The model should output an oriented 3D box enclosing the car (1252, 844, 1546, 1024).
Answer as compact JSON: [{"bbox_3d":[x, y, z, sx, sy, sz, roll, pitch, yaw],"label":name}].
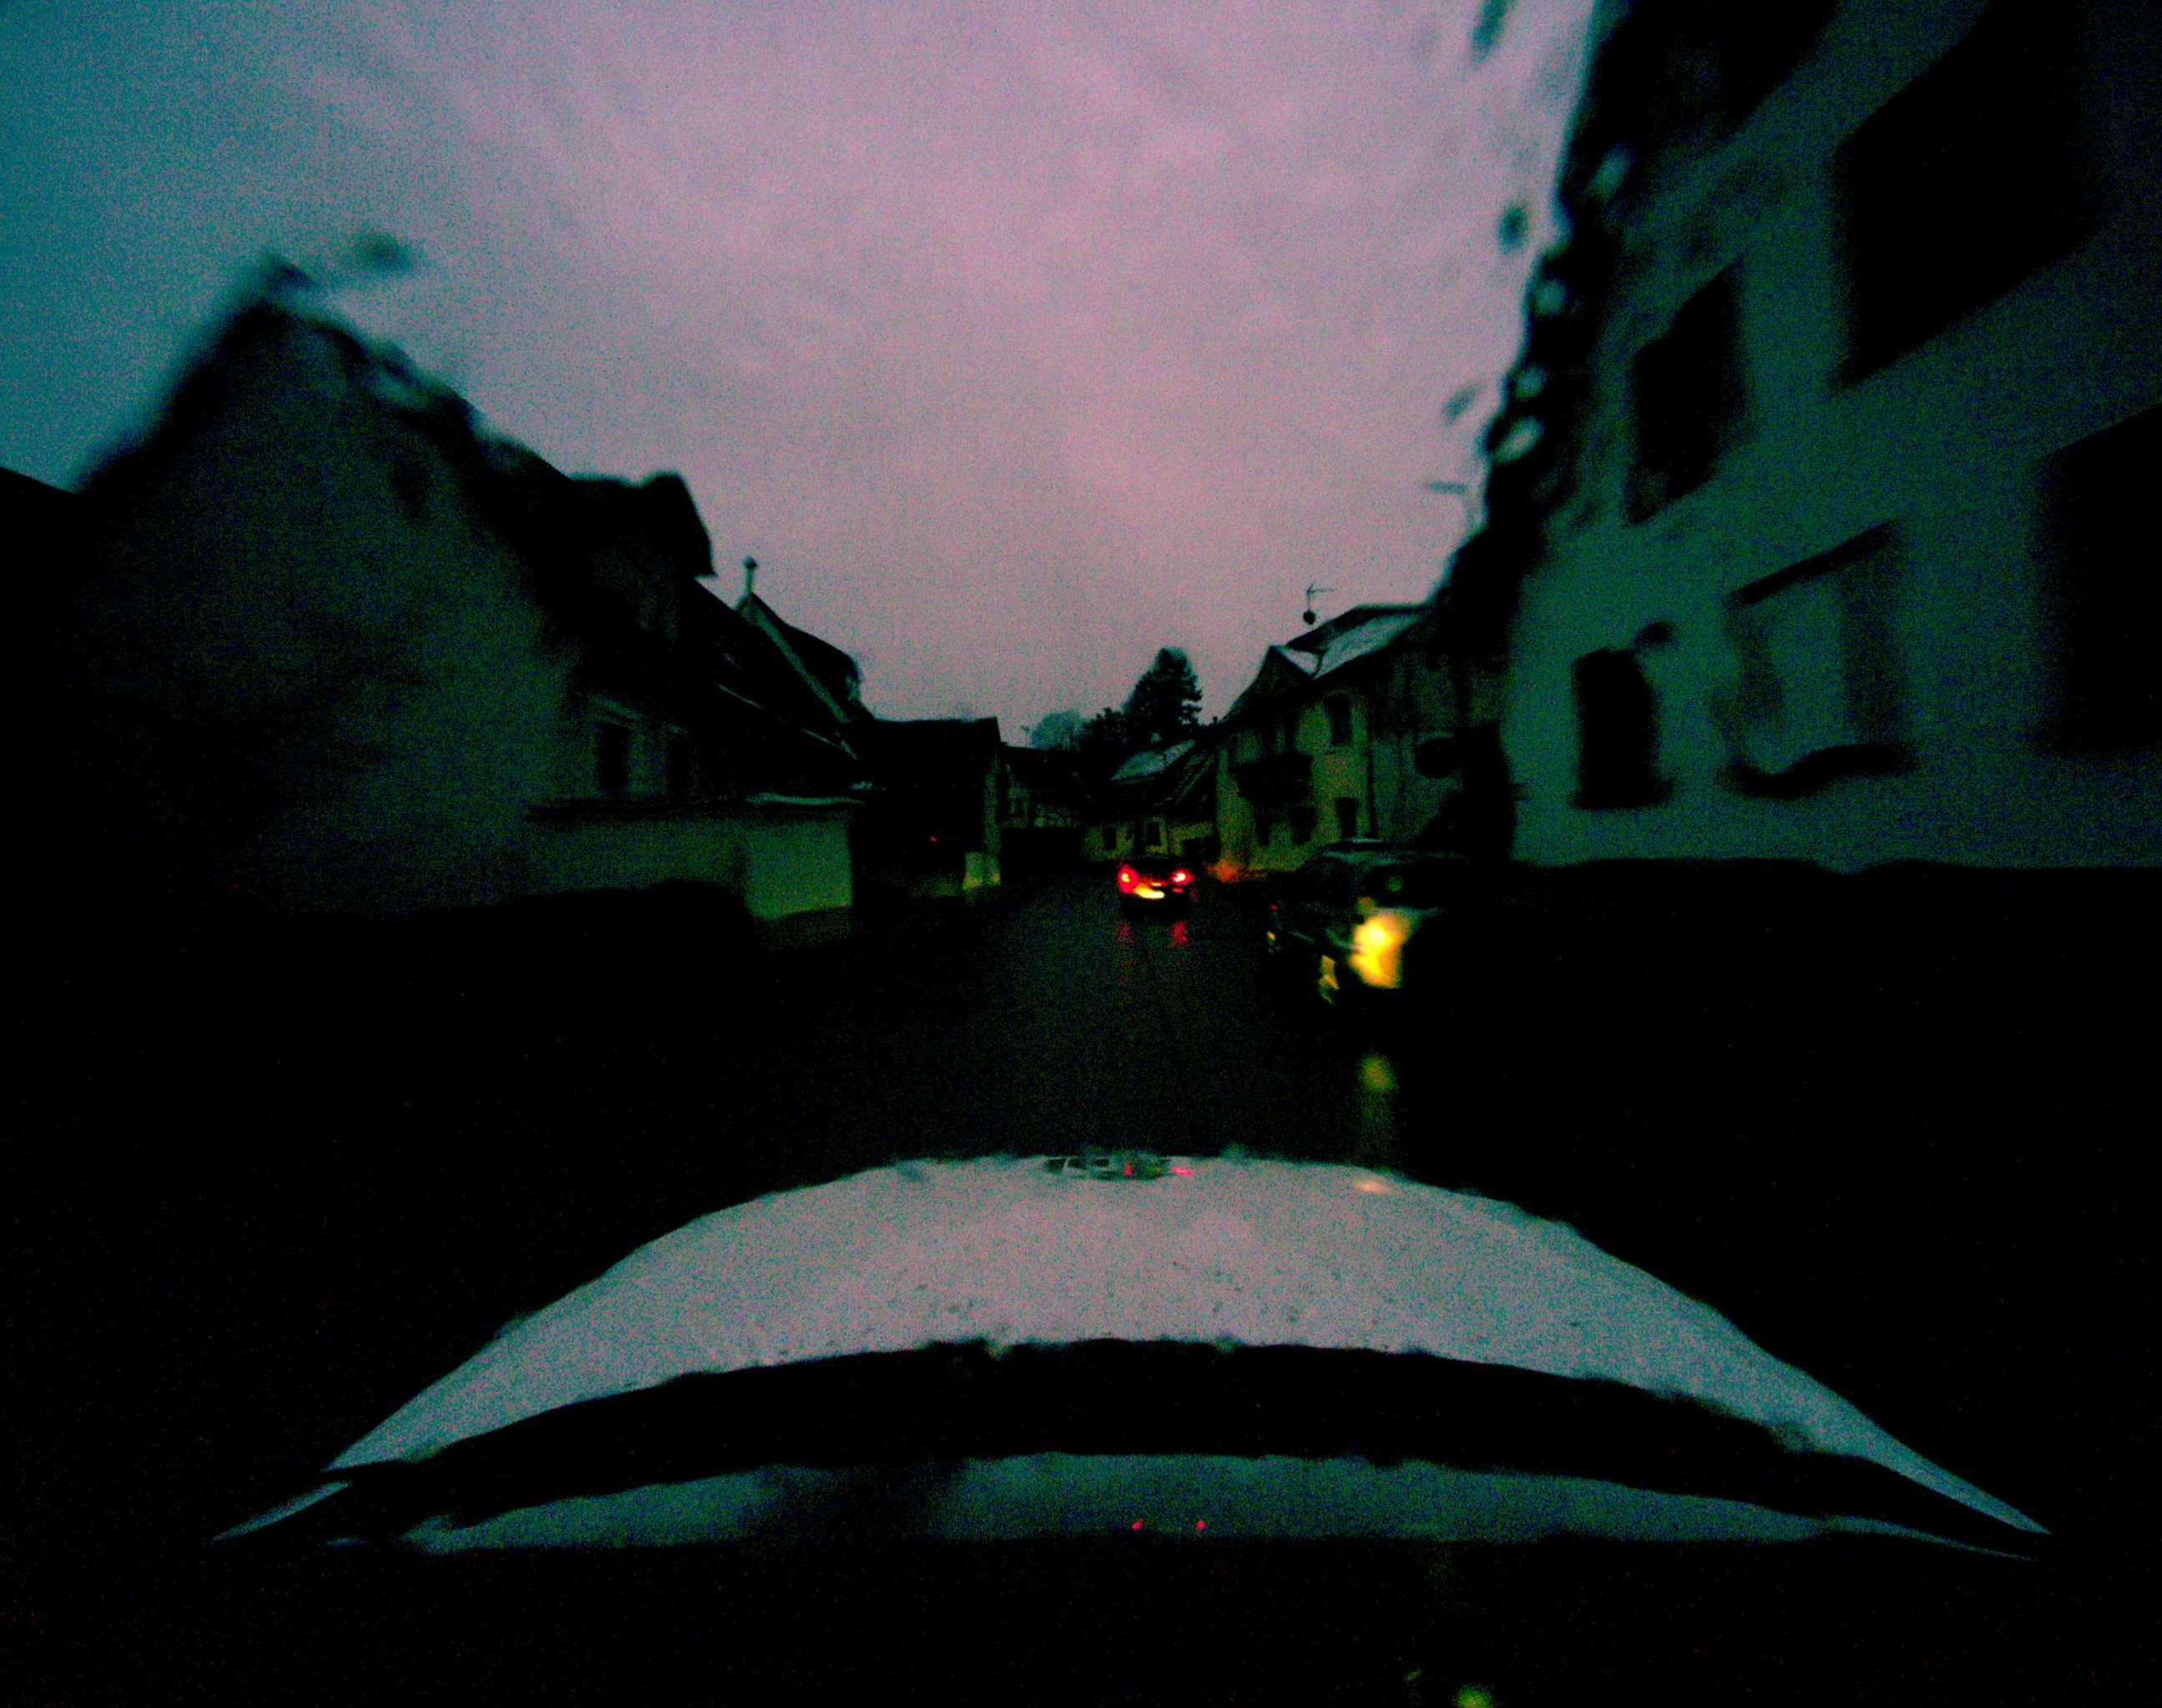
[{"bbox_3d":[3.073,0.670,8.794,1.632,1.494,4.000,0,0,0],"label":"car"}]

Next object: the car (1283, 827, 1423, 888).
[{"bbox_3d":[7.677,0.149,23.503,1.809,1.487,4.259,-4,-1,-13],"label":"car"}]

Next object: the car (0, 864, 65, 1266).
[{"bbox_3d":[-6.311,0.852,2.269,4.574,1.470,2.002,-2,0,3],"label":"car"}]

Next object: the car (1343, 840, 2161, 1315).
[{"bbox_3d":[2.906,0.694,4.540,1.632,1.471,4.000,0,0,0],"label":"car"}]

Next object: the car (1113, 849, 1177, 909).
[{"bbox_3d":[1.713,0.607,21.751,1.539,1.466,3.703,0,0,5],"label":"car"}]
